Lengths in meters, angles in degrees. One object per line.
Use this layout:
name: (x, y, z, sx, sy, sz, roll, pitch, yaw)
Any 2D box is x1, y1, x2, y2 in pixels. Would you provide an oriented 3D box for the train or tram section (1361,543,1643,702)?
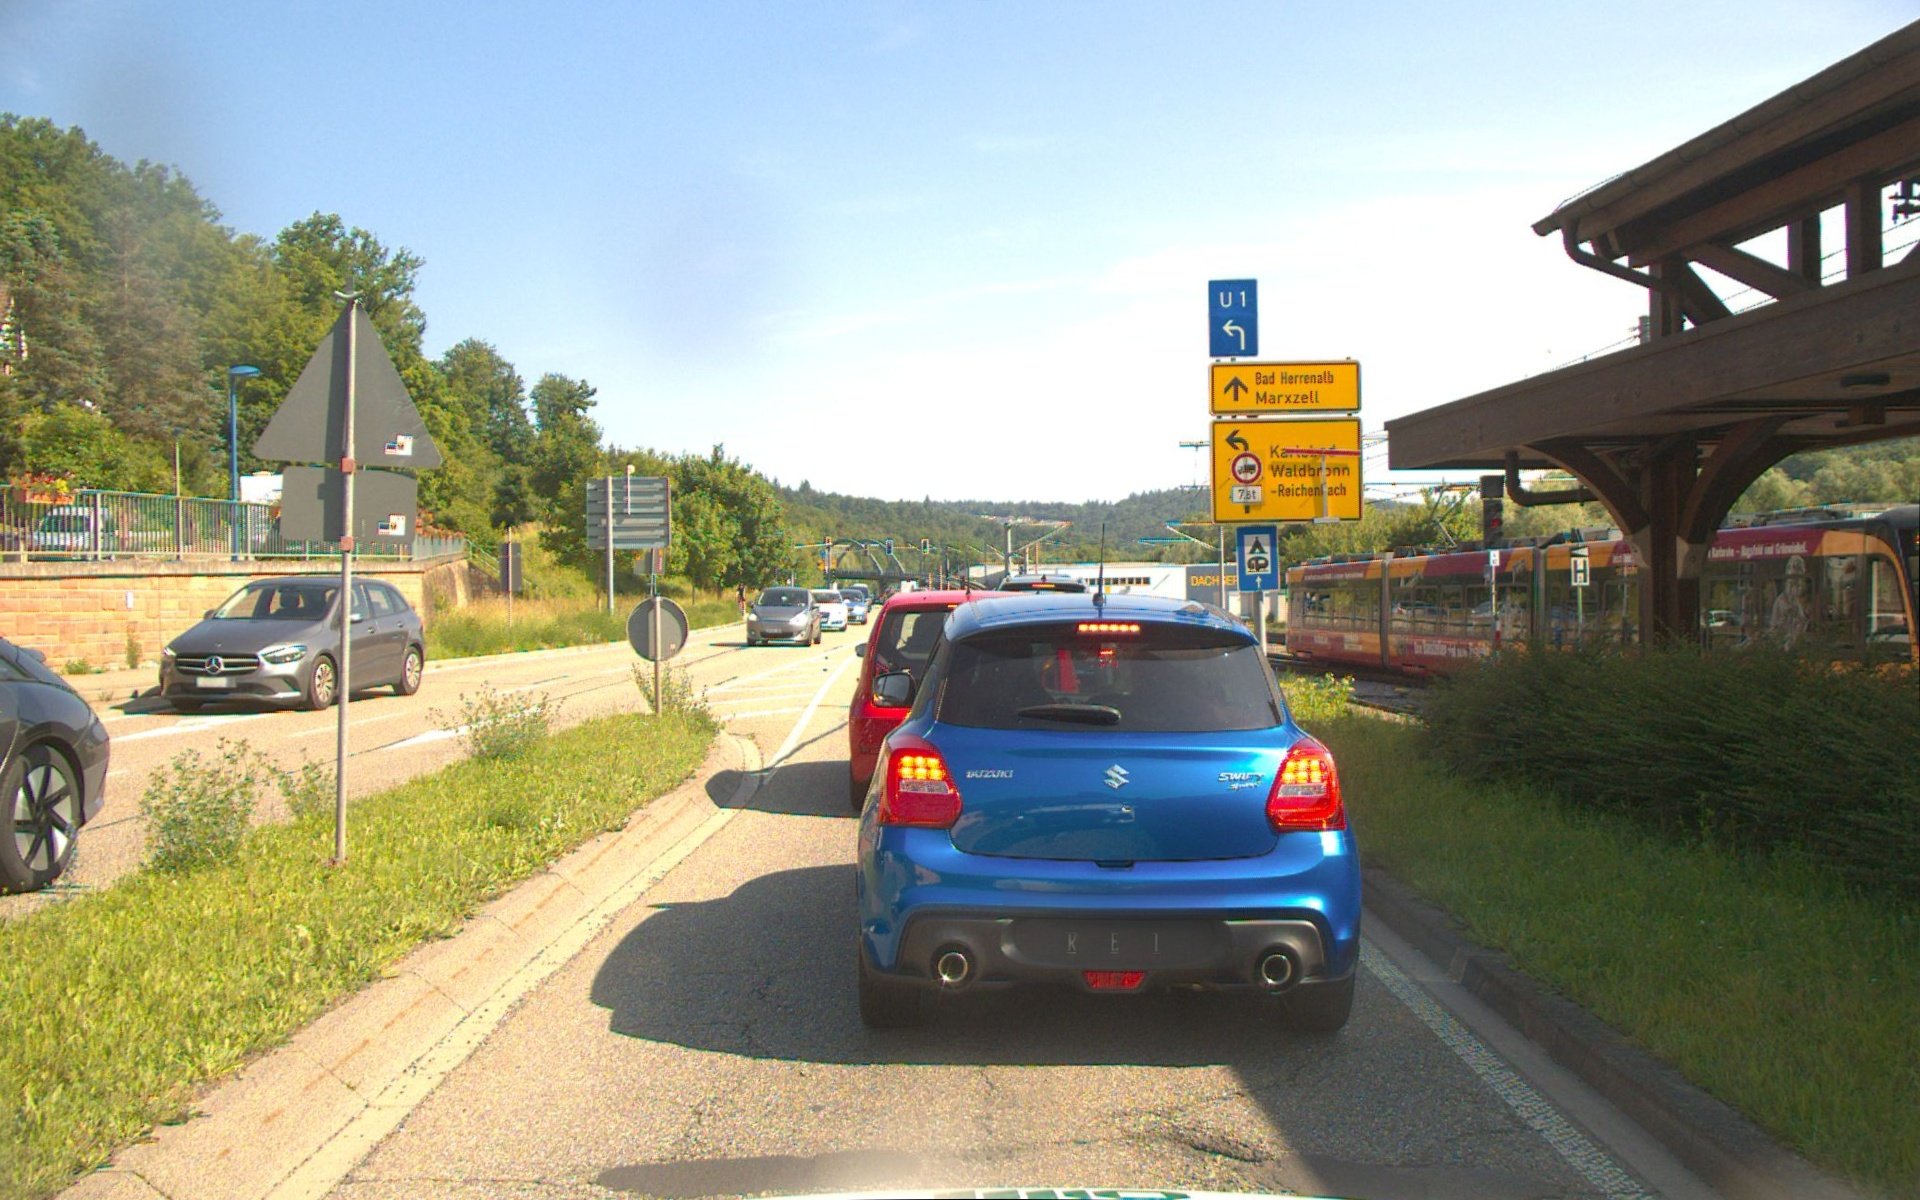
train or tram section: (13.446, 0.501, 42.580, 2.731, 3.423, 12.041, 2, 0, -3)

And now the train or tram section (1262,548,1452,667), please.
train or tram section: (12.743, 0.137, 54.493, 2.701, 3.422, 12.042, 2, 1, -3)

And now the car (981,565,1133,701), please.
car: (1.310, 0.412, 24.048, 1.952, 1.716, 4.497, 2, 1, 1)

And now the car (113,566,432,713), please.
car: (-8.246, 0.410, 20.357, 1.952, 1.591, 4.510, 0, 1, 1)

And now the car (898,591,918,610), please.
car: (-5.385, 0.043, 172.971, 1.953, 1.848, 4.000, 2, 1, -1)

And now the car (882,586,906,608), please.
car: (-5.575, -0.284, 140.103, 1.953, 1.814, 3.999, 1, 0, -1)

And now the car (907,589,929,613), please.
car: (-3.887, 0.100, 152.837, 1.953, 2.048, 4.000, 2, 1, -1)

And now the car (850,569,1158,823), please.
car: (0.310, 0.616, 12.680, 1.952, 1.598, 4.000, 1, 0, 1)

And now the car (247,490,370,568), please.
car: (-17.731, -1.904, 45.268, 1.982, 1.953, 4.724, 2, 1, -7)

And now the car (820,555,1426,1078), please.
car: (0.449, 0.644, 7.012, 1.831, 1.575, 3.999, 1, 0, -2)

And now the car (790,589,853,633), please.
car: (-4.828, 0.367, 58.146, 1.795, 1.393, 3.950, 1, 1, 1)

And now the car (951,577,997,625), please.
car: (0.630, 0.009, 75.512, 1.953, 2.048, 4.000, 2, 1, -1)

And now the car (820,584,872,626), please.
car: (-4.791, 0.194, 69.908, 1.795, 1.493, 3.812, 2, 3, 1)

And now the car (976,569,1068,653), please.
car: (1.384, 0.211, 38.102, 1.952, 1.766, 4.000, 2, 1, 1)

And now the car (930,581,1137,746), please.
car: (0.724, 0.579, 17.954, 1.952, 1.558, 4.602, 0, 1, 1)

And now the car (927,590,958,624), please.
car: (-1.151, 0.460, 109.261, 1.953, 2.048, 4.000, 2, 1, -1)

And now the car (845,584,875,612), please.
car: (-6.928, -0.153, 114.875, 1.795, 1.743, 3.811, 2, 1, 1)

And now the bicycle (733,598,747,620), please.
bicycle: (-11.010, 0.447, 82.708, 0.555, 1.061, 1.550, 2, 1, -4)

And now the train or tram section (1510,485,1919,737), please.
train or tram section: (14.021, 0.113, 29.573, 2.799, 3.423, 14.344, 1, 0, -3)

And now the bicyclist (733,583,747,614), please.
bicyclist: (-10.994, -0.091, 82.692, 0.617, 1.533, 0.505, 2, 1, -4)

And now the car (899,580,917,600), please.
car: (-6.042, -1.147, 192.500, 1.953, 2.181, 4.719, 1, 0, -1)

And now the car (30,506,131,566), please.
car: (-26.149, -1.864, 49.311, 1.864, 1.658, 3.982, 0, 1, -16)

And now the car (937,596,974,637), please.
car: (-0.272, 0.903, 90.796, 1.953, 2.048, 4.000, 2, 1, -1)

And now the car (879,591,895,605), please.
car: (-10.021, -0.248, 226.523, 1.953, 1.770, 4.000, 2, 1, -1)

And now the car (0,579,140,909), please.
car: (-5.216, 0.655, 6.370, 1.755, 1.496, 4.716, 0, 0, 0)

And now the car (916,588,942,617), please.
car: (-2.394, 0.186, 128.948, 1.953, 2.048, 4.000, 2, 1, -1)

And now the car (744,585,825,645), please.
car: (-4.495, 0.374, 42.749, 1.637, 1.466, 3.840, 1, 0, 1)

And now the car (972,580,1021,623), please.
car: (1.398, 0.040, 63.659, 1.794, 1.519, 3.812, 2, 1, 1)
